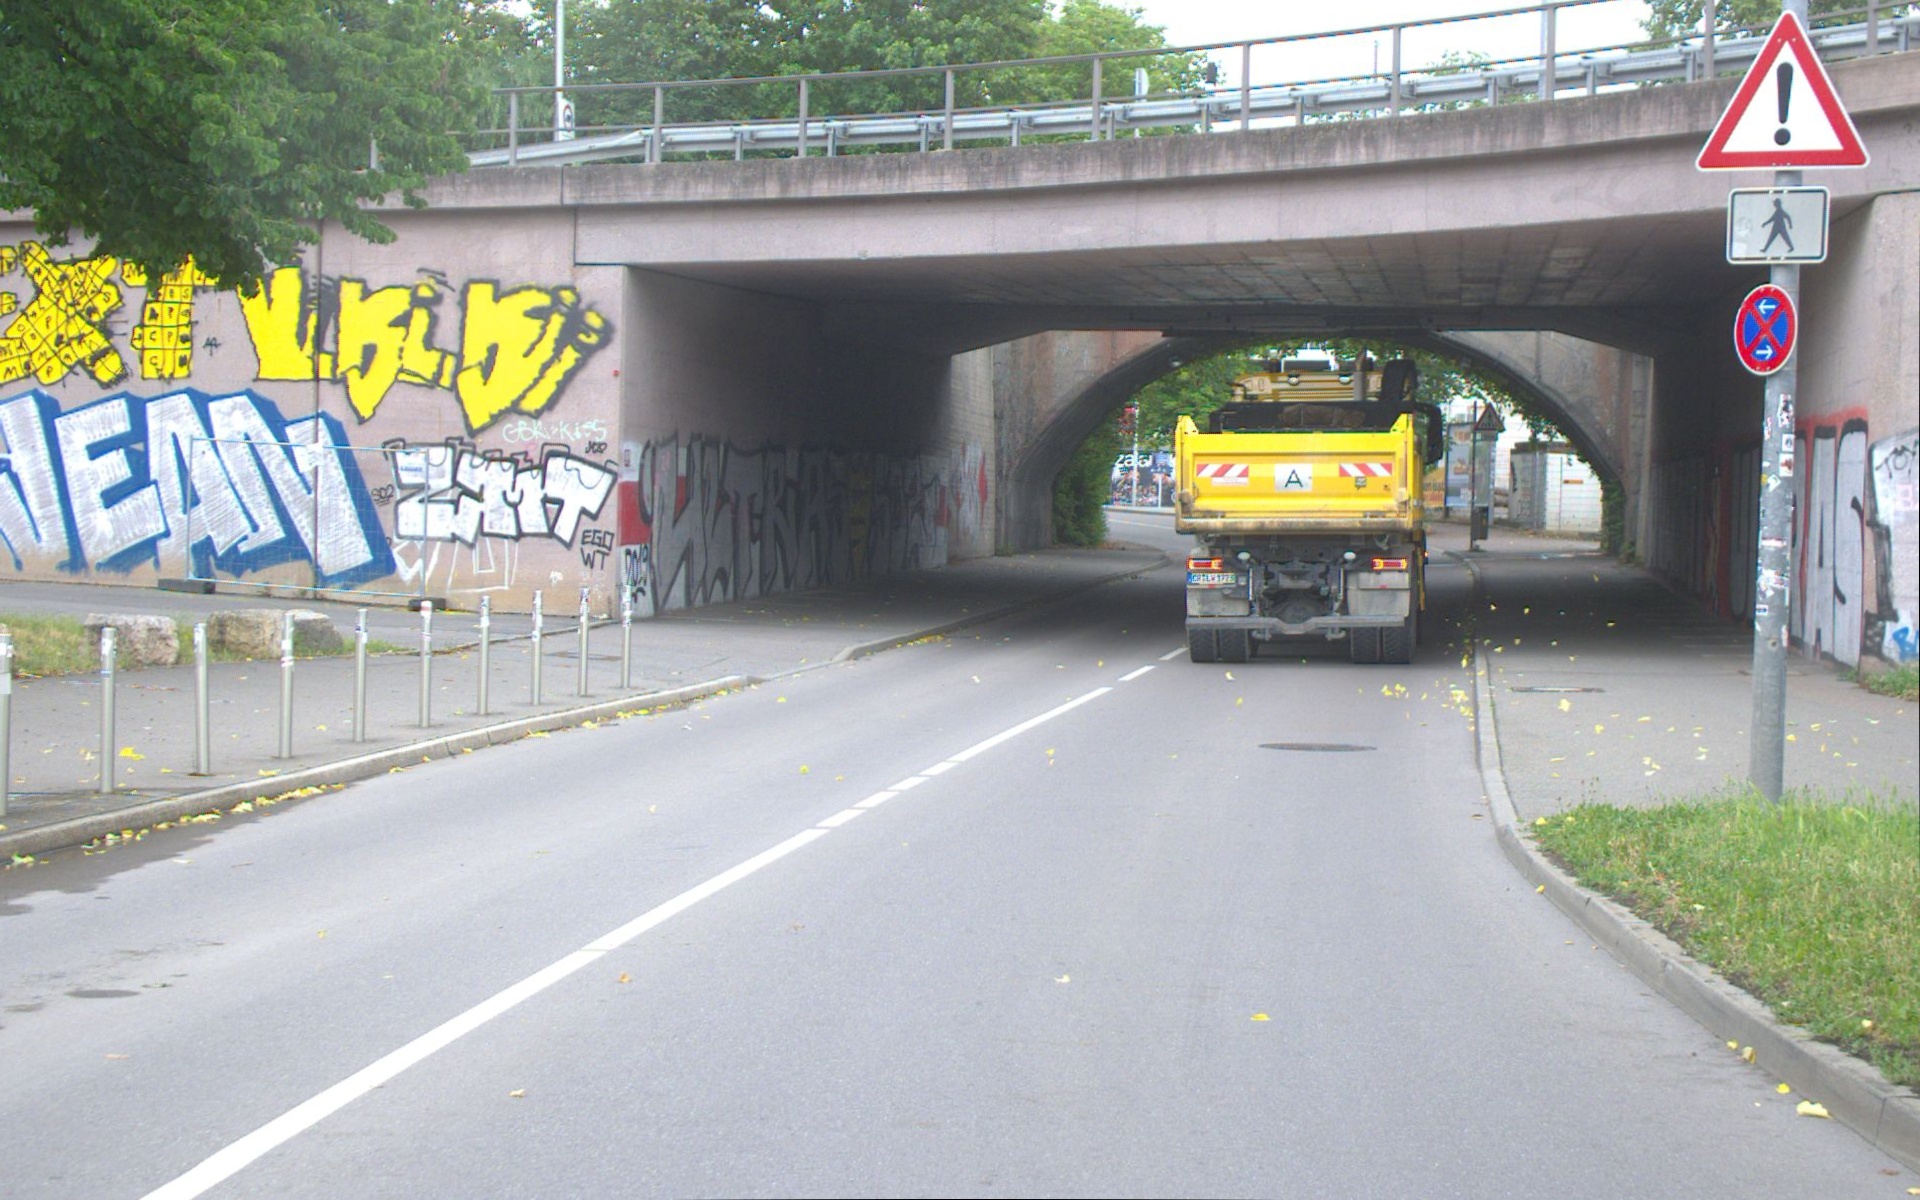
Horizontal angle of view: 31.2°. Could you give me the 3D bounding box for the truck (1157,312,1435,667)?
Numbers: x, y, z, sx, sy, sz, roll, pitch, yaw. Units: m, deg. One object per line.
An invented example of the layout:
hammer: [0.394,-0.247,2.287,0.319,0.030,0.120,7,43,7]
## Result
truck: [4.114,-1.204,40.578,2.759,3.686,7.877,2,1,8]
